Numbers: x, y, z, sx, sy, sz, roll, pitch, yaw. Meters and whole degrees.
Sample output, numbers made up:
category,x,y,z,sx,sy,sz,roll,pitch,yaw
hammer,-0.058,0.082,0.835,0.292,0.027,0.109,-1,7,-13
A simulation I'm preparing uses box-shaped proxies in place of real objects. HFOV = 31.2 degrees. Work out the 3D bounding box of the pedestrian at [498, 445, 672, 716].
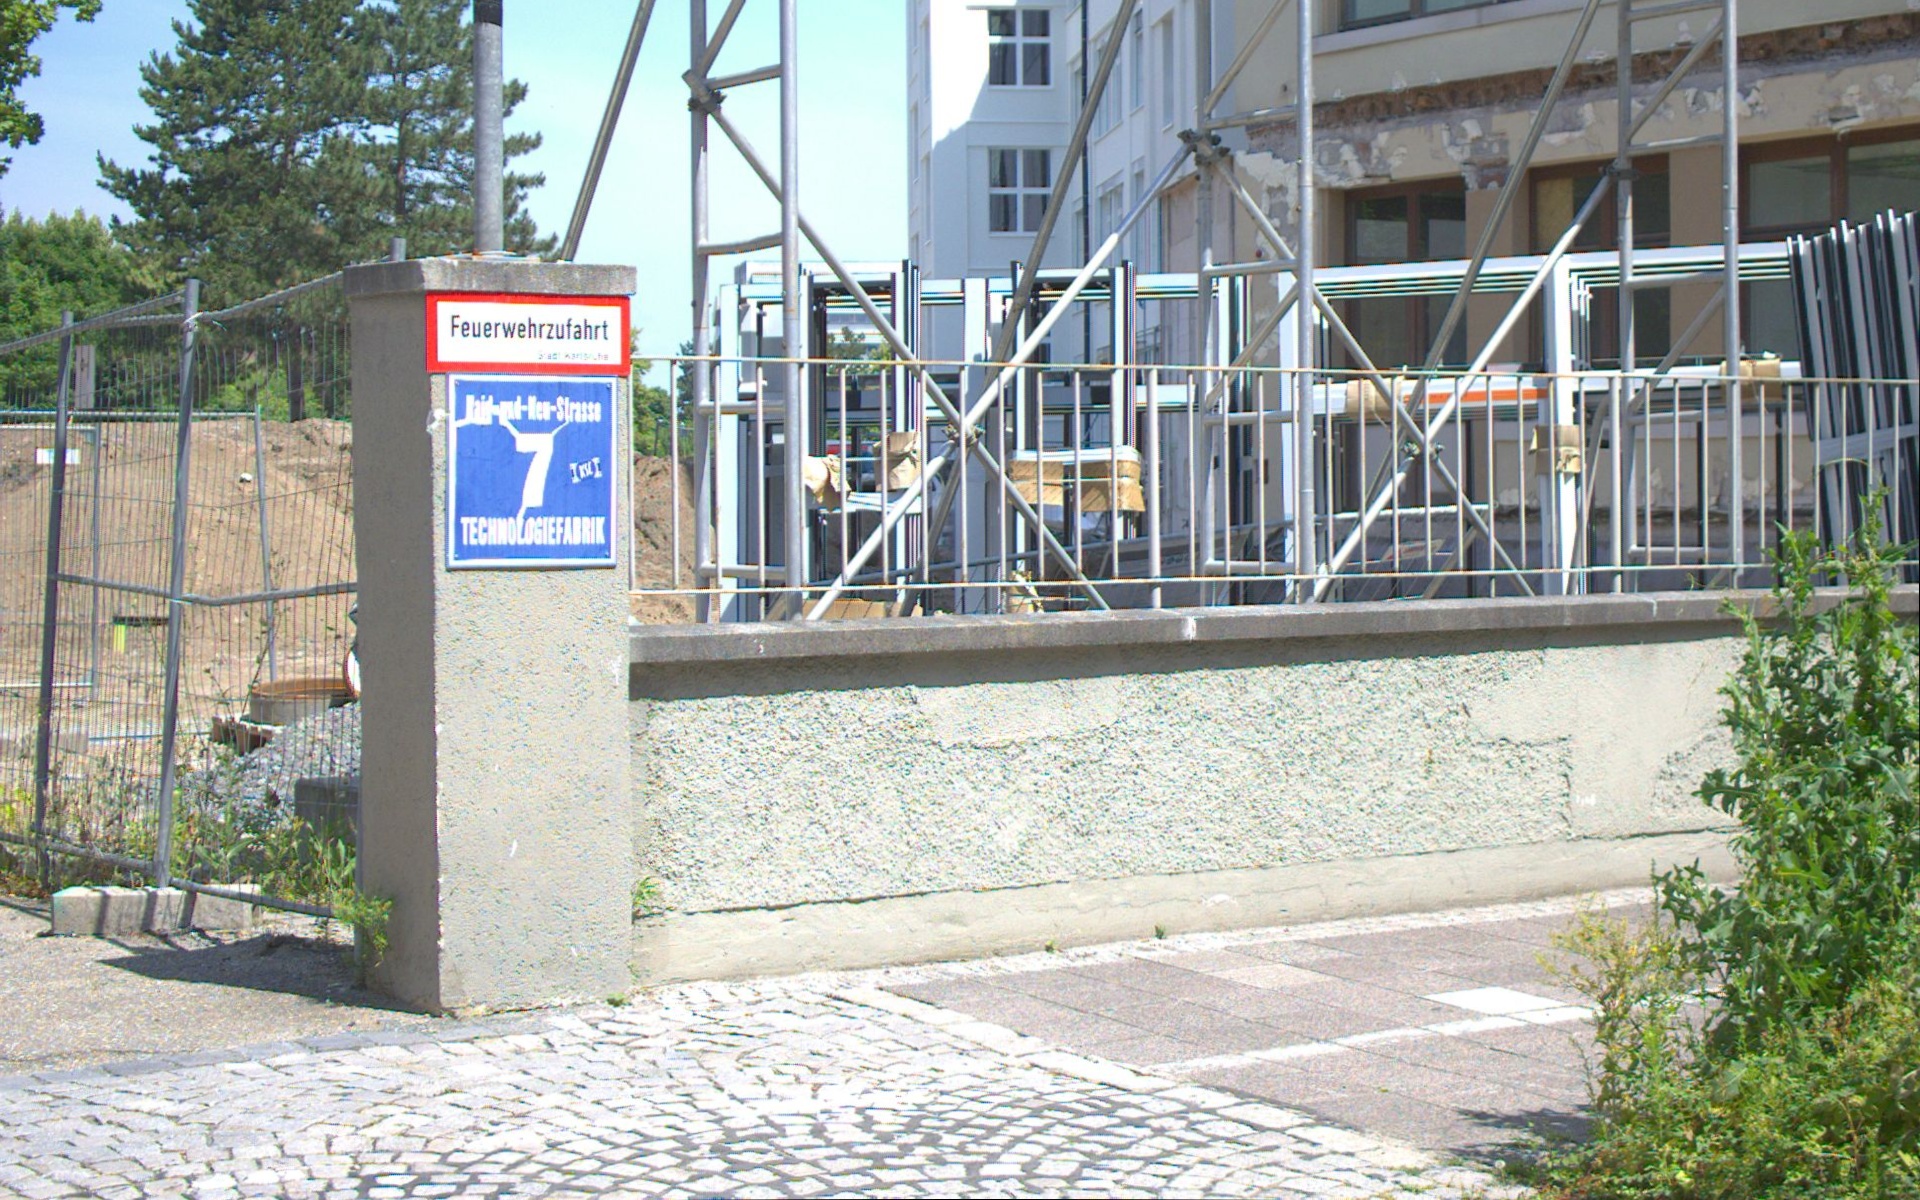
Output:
category,x,y,z,sx,sy,sz,roll,pitch,yaw
pedestrian,-2.575,-0.151,23.571,0.964,1.813,0.871,-1,2,-24
